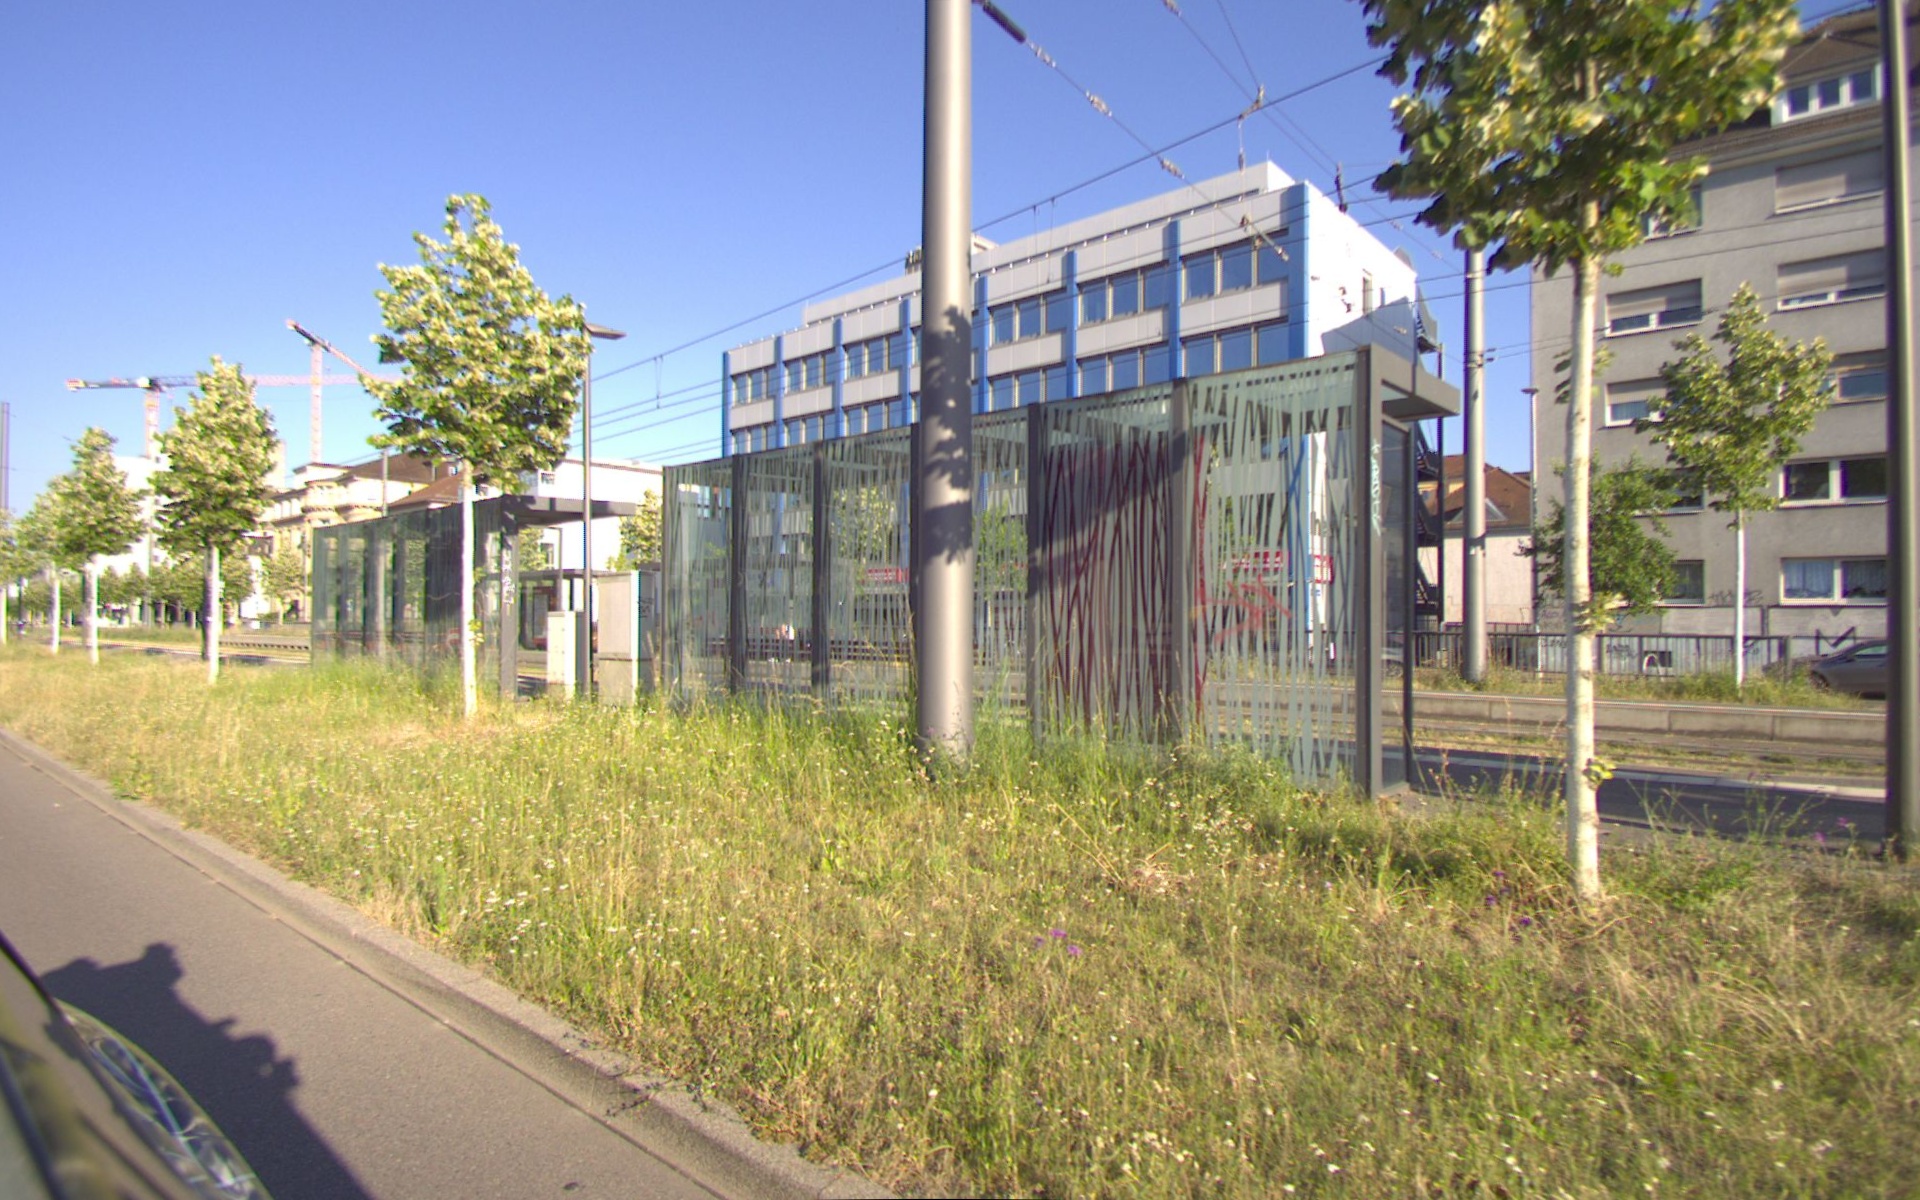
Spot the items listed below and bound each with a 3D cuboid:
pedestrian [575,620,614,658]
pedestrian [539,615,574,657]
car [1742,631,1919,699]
[{"bbox_3d":[-12.007,1.280,33.243,0.764,1.206,0.924,-1,-2,40],"label":"pedestrian"},{"bbox_3d":[-13.932,1.245,34.950,0.803,1.421,0.829,-1,-2,40],"label":"pedestrian"},{"bbox_3d":[21.518,1.513,24.157,4.428,1.519,1.973,-1,-2,40],"label":"car"}]
